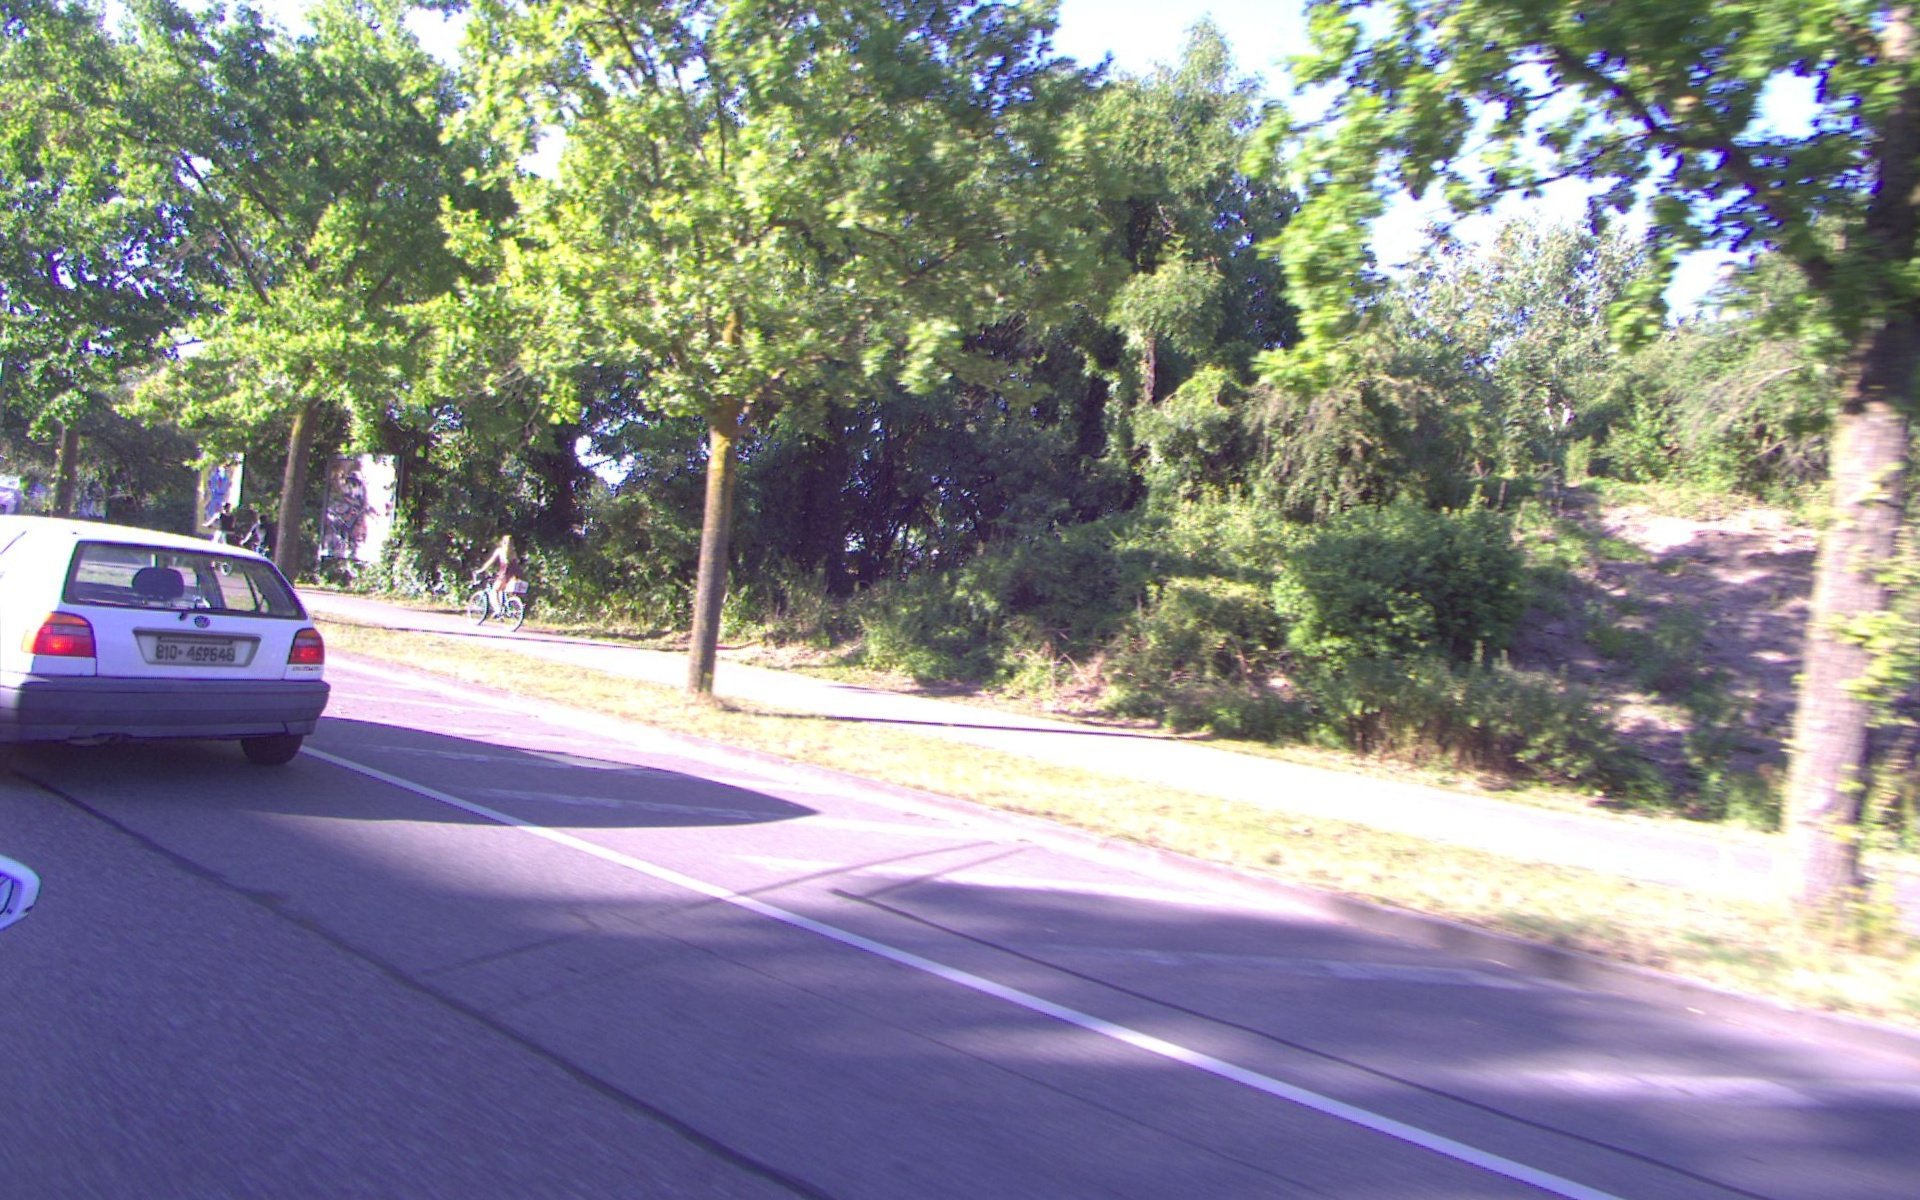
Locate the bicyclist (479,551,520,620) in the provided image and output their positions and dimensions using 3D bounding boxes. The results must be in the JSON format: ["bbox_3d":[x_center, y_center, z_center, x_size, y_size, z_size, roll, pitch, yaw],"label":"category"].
[{"bbox_3d":[-8.655,-0.273,18.910,0.452,1.248,0.428,6,0,32],"label":"bicyclist"}]

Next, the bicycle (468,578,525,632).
[{"bbox_3d":[-8.722,0.085,18.921,1.010,0.926,0.437,5,1,32],"label":"bicycle"}]

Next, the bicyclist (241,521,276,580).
[{"bbox_3d":[-16.667,-1.167,23.906,0.452,1.324,0.428,6,-1,32],"label":"bicyclist"}]

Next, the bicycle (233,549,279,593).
[{"bbox_3d":[-16.721,-0.687,23.890,1.010,0.925,0.438,5,-2,32],"label":"bicycle"}]

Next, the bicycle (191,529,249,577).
[{"bbox_3d":[-19.466,-1.241,26.453,1.595,1.125,0.565,5,-2,32],"label":"bicycle"}]

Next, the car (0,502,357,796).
[{"bbox_3d":[-5.938,0.161,6.601,3.994,1.430,1.582,5,-2,31],"label":"car"}]

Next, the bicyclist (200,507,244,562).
[{"bbox_3d":[-19.392,-1.717,26.448,0.821,1.331,0.544,5,-1,31],"label":"bicyclist"}]
